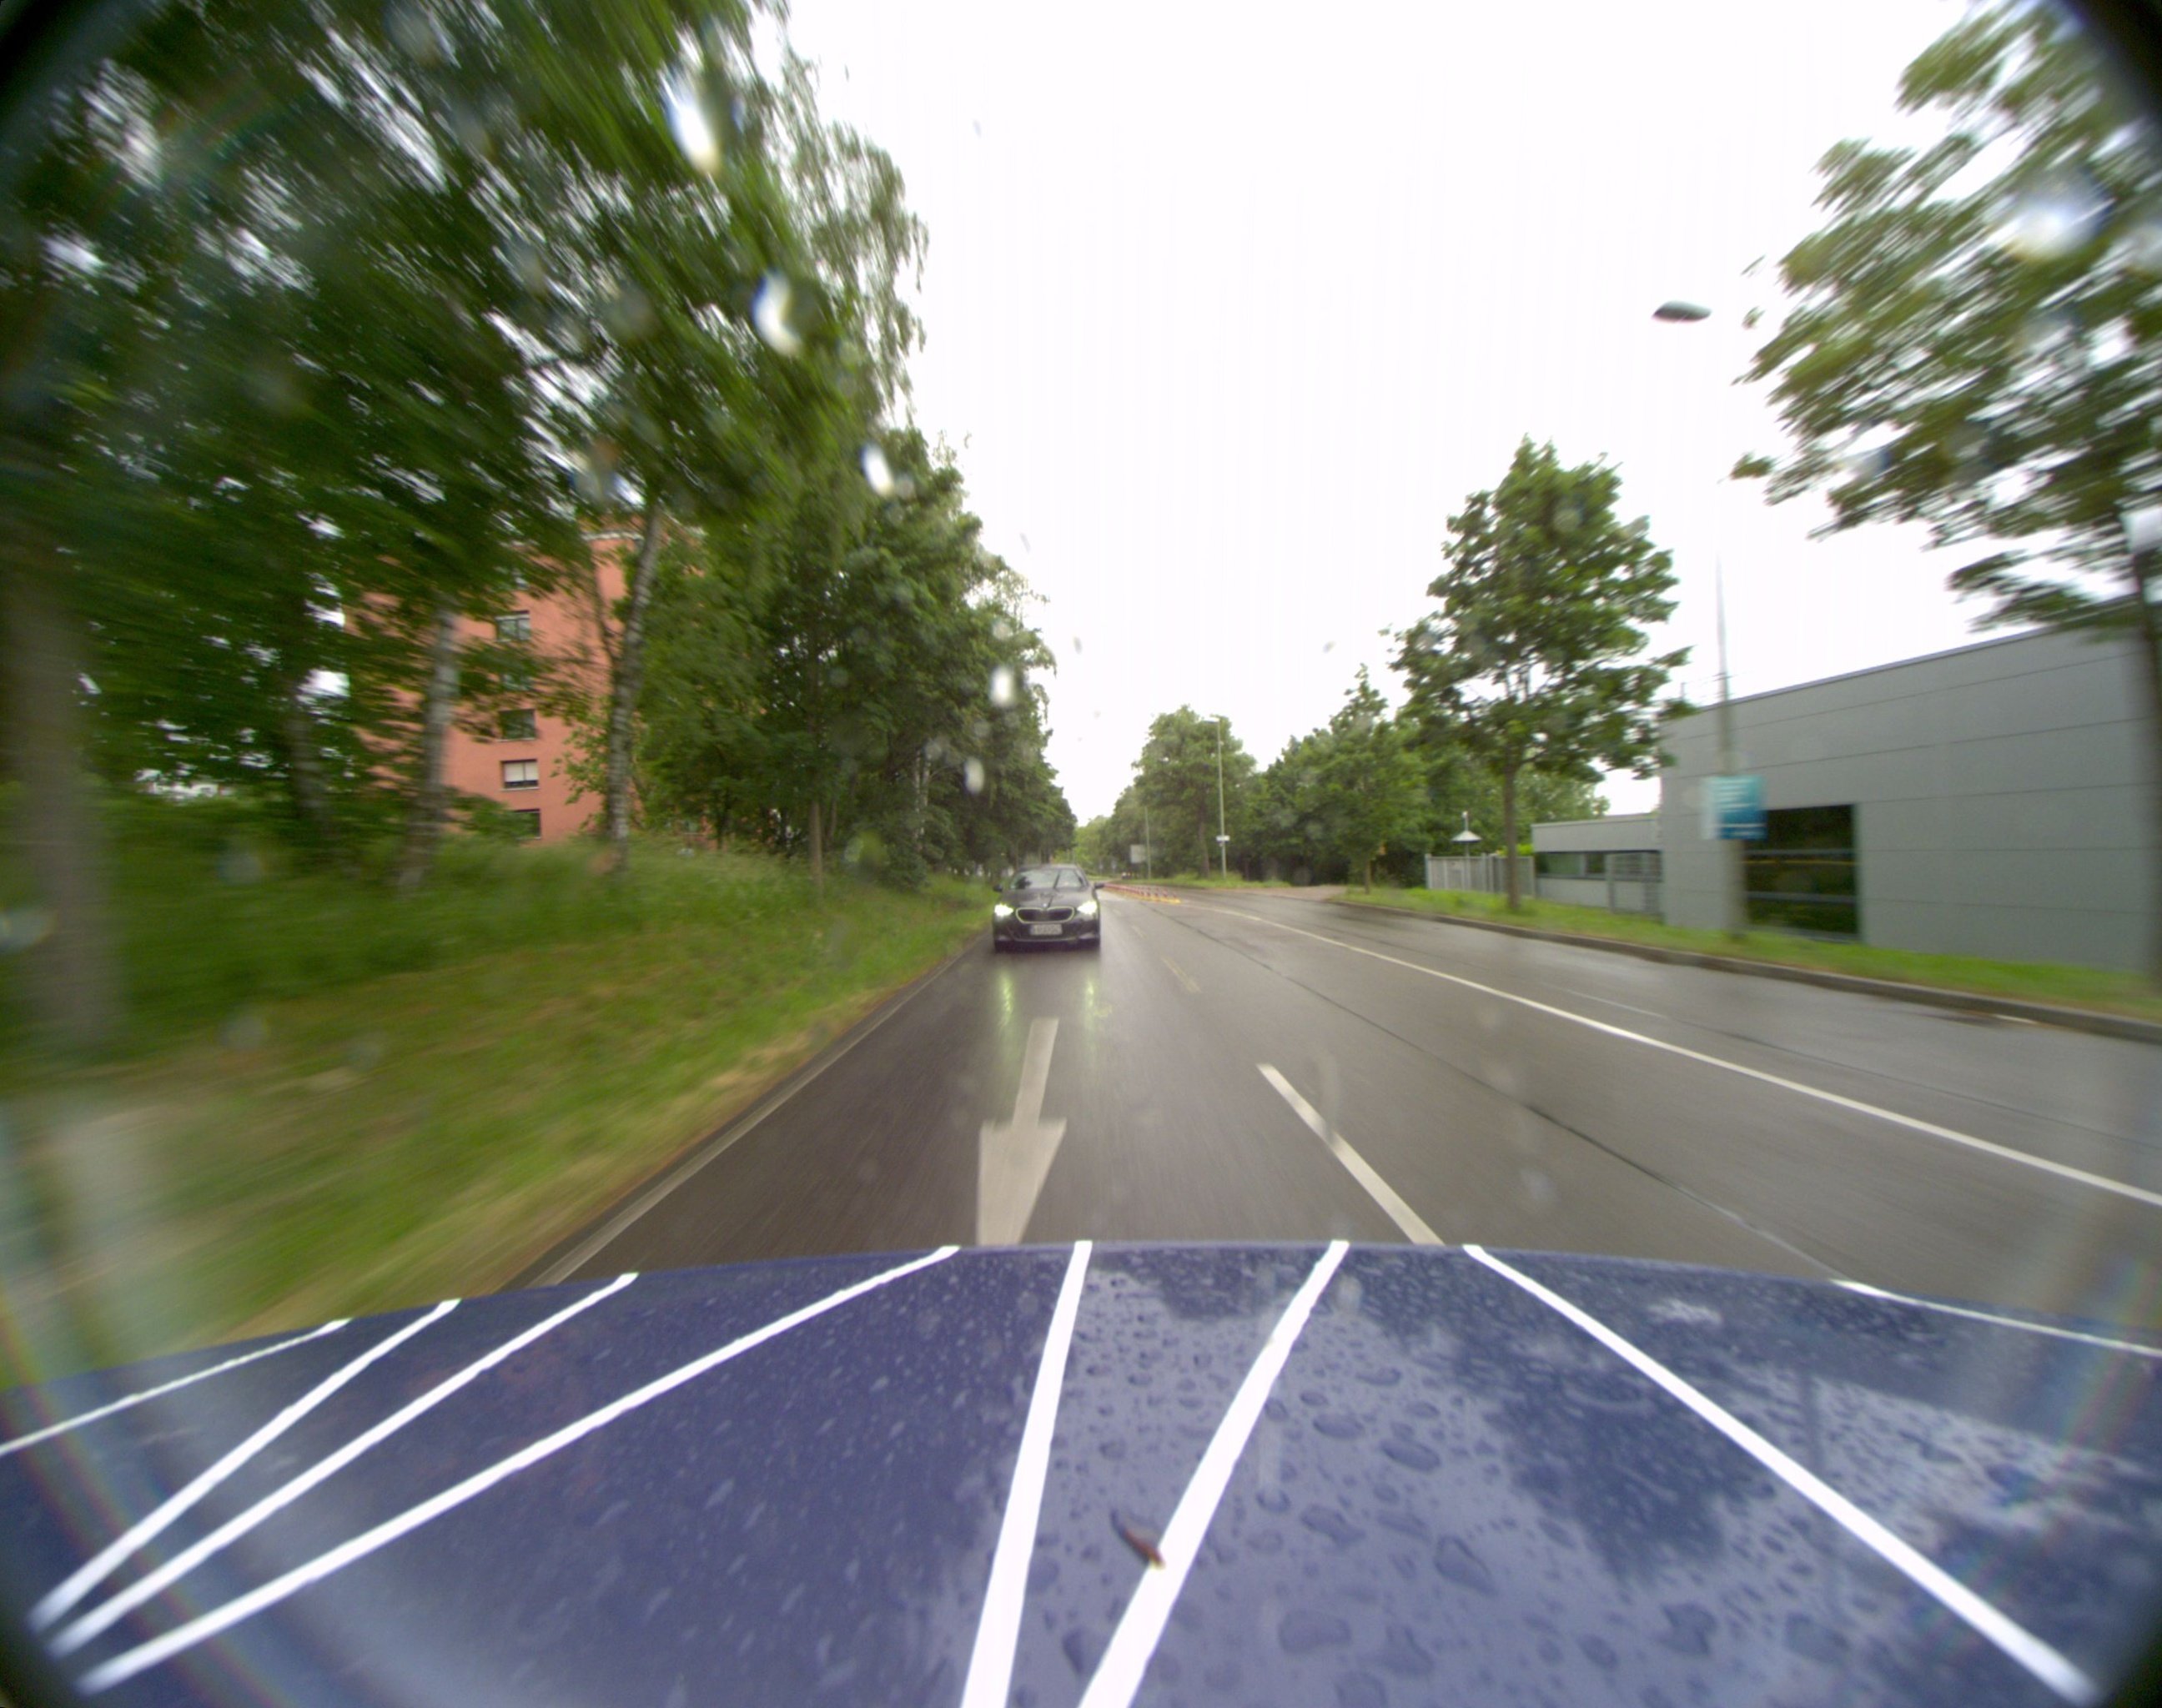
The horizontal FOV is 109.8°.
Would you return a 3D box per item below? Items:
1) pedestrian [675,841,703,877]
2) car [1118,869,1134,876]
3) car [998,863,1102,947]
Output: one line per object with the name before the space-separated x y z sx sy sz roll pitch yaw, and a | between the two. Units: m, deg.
pedestrian | -14.075 0.196 27.280 0.656 1.276 0.625 0 -1 2
car | 9.004 3.620 152.381 3.053 1.293 1.504 -1 -2 -5
car | -0.543 0.987 15.996 1.845 1.471 4.001 -2 -1 1
